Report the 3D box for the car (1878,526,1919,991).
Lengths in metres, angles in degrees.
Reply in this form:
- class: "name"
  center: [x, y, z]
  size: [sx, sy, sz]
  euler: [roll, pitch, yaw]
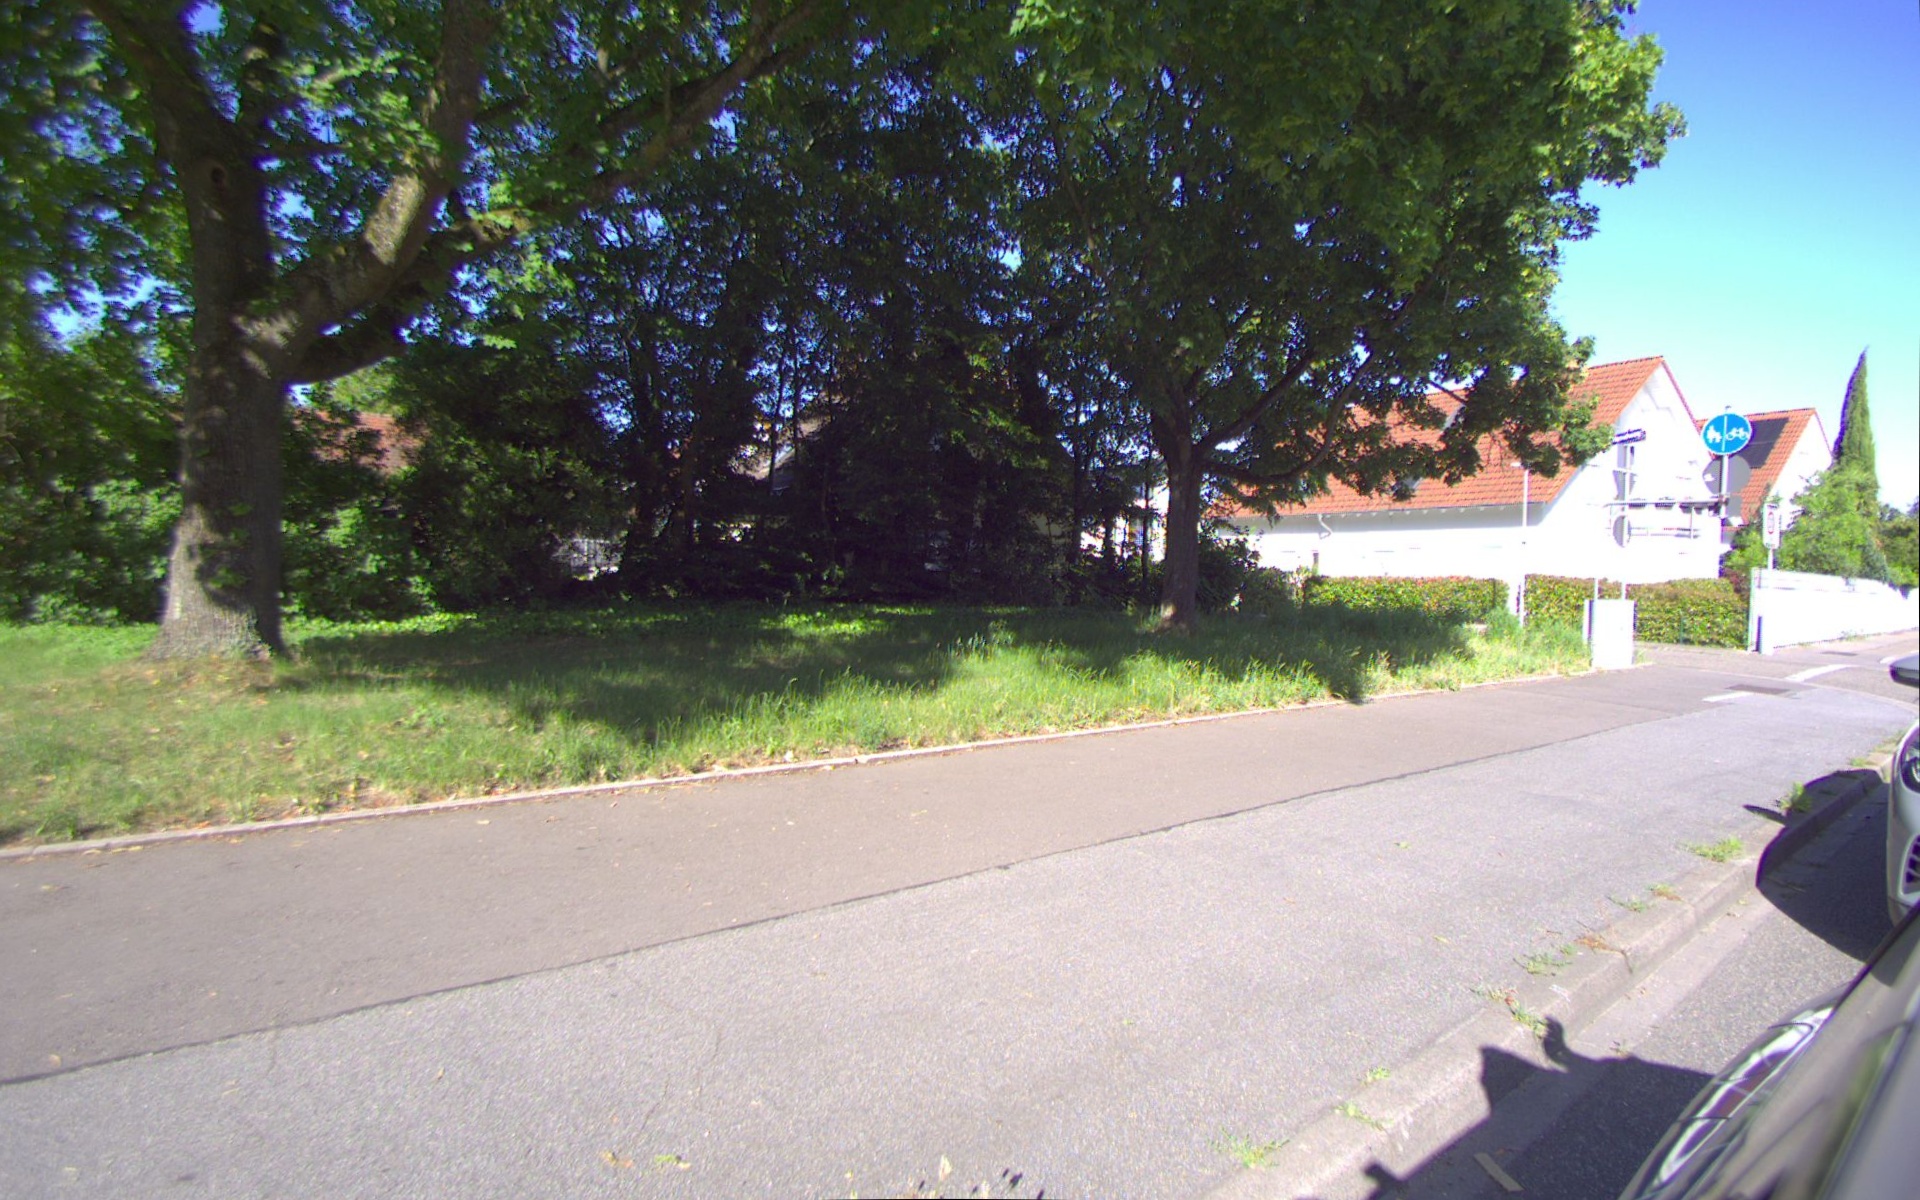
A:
- class: "car"
  center: [5.635, 0.606, 4.436]
  size: [4.133, 1.710, 1.857]
  euler: [0, 3, -41]
